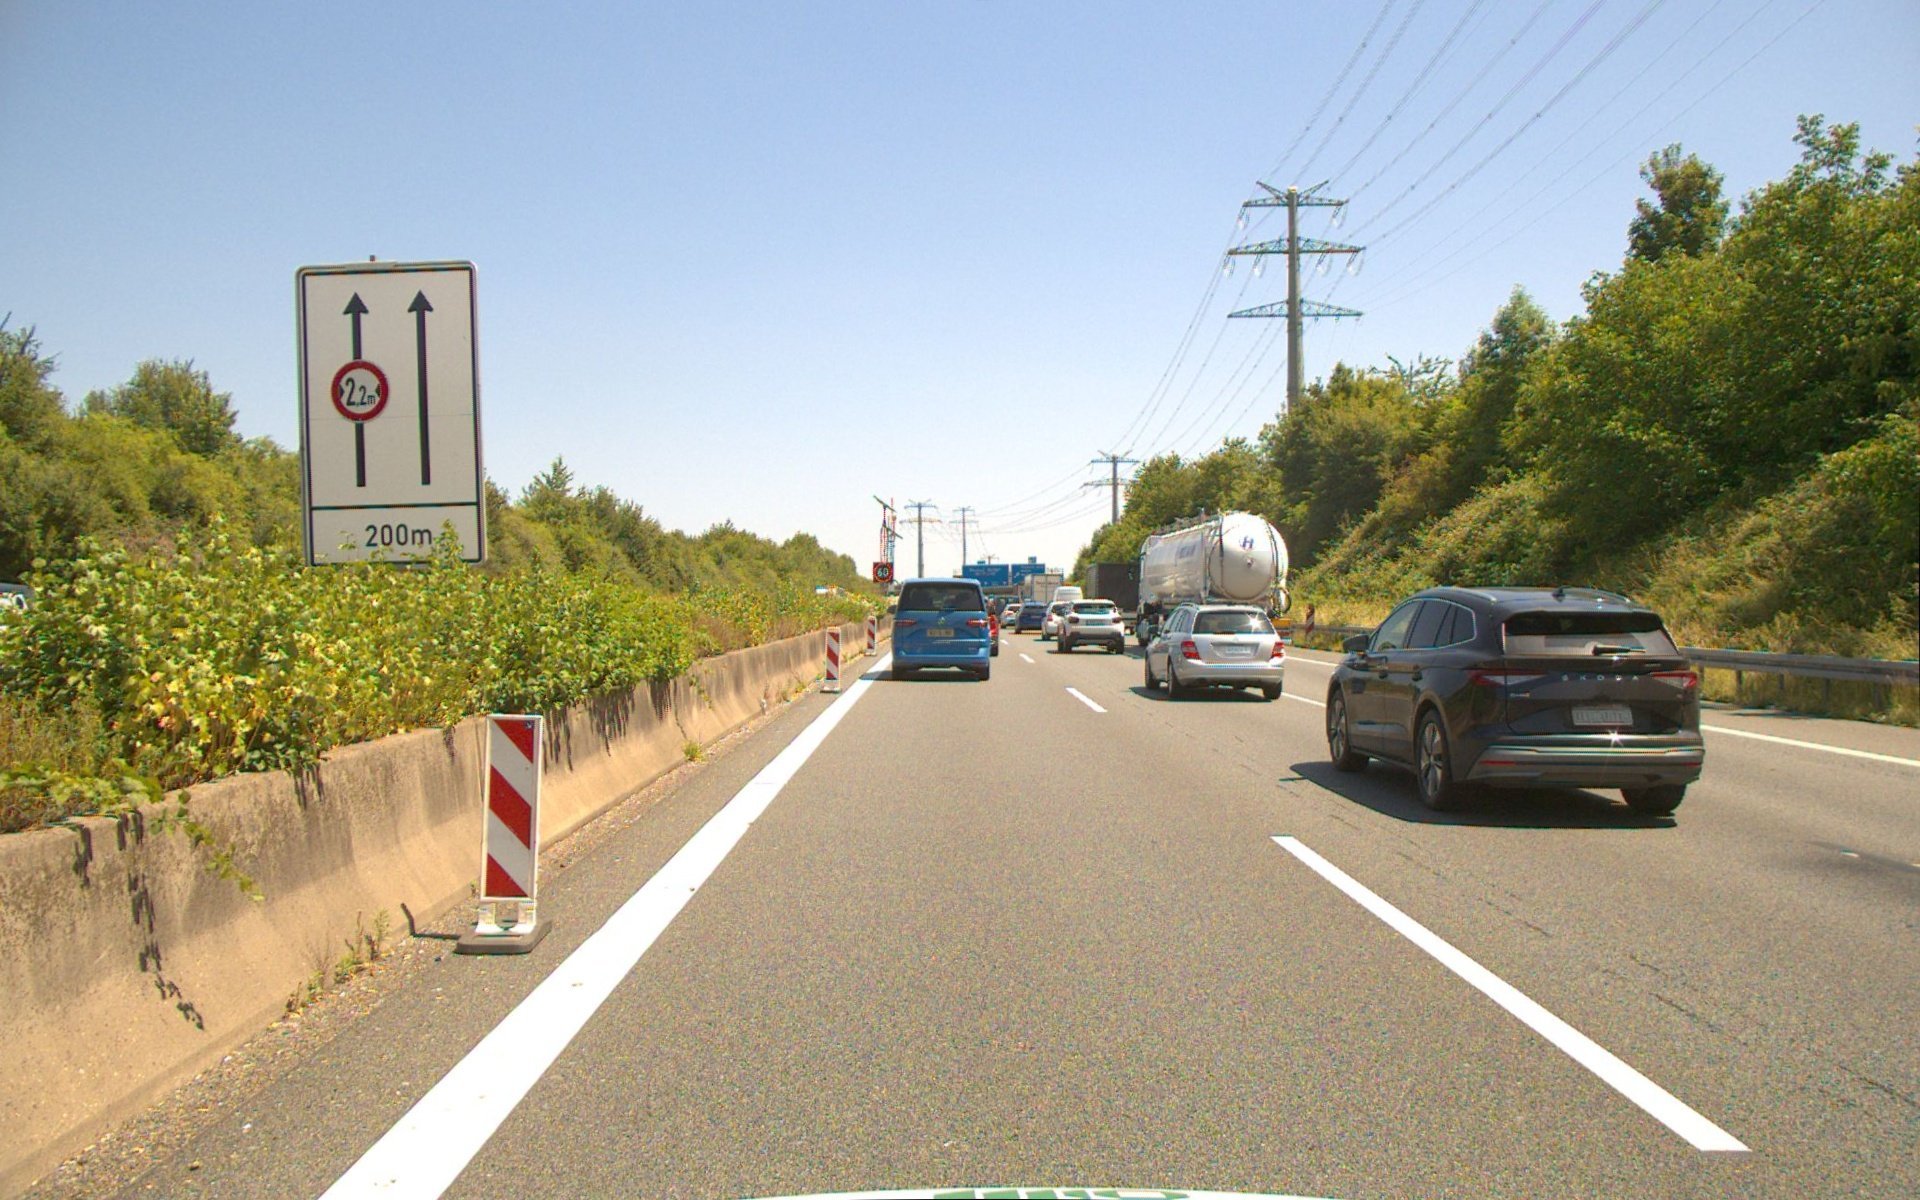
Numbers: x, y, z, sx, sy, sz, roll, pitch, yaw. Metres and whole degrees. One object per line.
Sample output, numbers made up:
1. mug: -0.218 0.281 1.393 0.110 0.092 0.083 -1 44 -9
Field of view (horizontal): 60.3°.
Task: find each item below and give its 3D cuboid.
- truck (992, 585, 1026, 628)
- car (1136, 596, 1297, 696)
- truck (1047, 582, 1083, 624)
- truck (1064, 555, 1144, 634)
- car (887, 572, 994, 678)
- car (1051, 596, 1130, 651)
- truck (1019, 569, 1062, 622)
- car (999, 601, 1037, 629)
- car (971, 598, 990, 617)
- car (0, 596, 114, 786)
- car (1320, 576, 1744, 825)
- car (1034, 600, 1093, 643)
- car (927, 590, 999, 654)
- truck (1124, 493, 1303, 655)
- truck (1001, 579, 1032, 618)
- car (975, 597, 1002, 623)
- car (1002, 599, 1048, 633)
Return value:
1. truck: 3.237 0.446 110.888 1.953 2.771 5.678 1 0 -1
2. car: 4.068 0.699 26.907 1.784 1.462 4.381 1 0 -2
3. truck: 7.294 0.208 115.470 1.953 2.771 5.678 1 0 -1
4. truck: 7.056 -0.230 82.726 2.591 3.601 12.548 1 0 -1
5. car: -0.453 0.461 32.431 1.834 1.912 4.380 1 0 -4
6. car: 3.821 0.670 48.825 1.870 1.534 3.920 1 0 -2
7. truck: 6.998 -0.363 145.581 2.878 4.366 12.548 1 0 -1
8. car: 3.370 0.848 96.610 1.870 1.542 4.381 1 0 -2
9. car: 2.249 0.848 184.215 1.953 2.049 3.999 1 0 -1
10. car: -11.297 0.992 18.096 1.922 2.049 4.409 -1 0 -2
11. car: 4.296 0.668 13.235 1.791 1.643 4.430 1 0 -1
12. car: 4.005 0.814 64.896 1.870 1.597 4.381 1 0 -2
13. car: 0.031 0.585 45.600 1.870 1.659 4.382 0 0 -1
14. truck: 7.350 -0.635 50.867 2.591 4.143 16.436 1 0 -1
15. truck: 6.613 -0.174 194.752 2.878 4.366 12.548 1 0 -1
16. car: 2.284 0.807 134.053 1.953 2.049 3.999 1 0 -1
17. car: 3.073 0.758 79.306 1.870 1.542 4.381 1 0 -2
